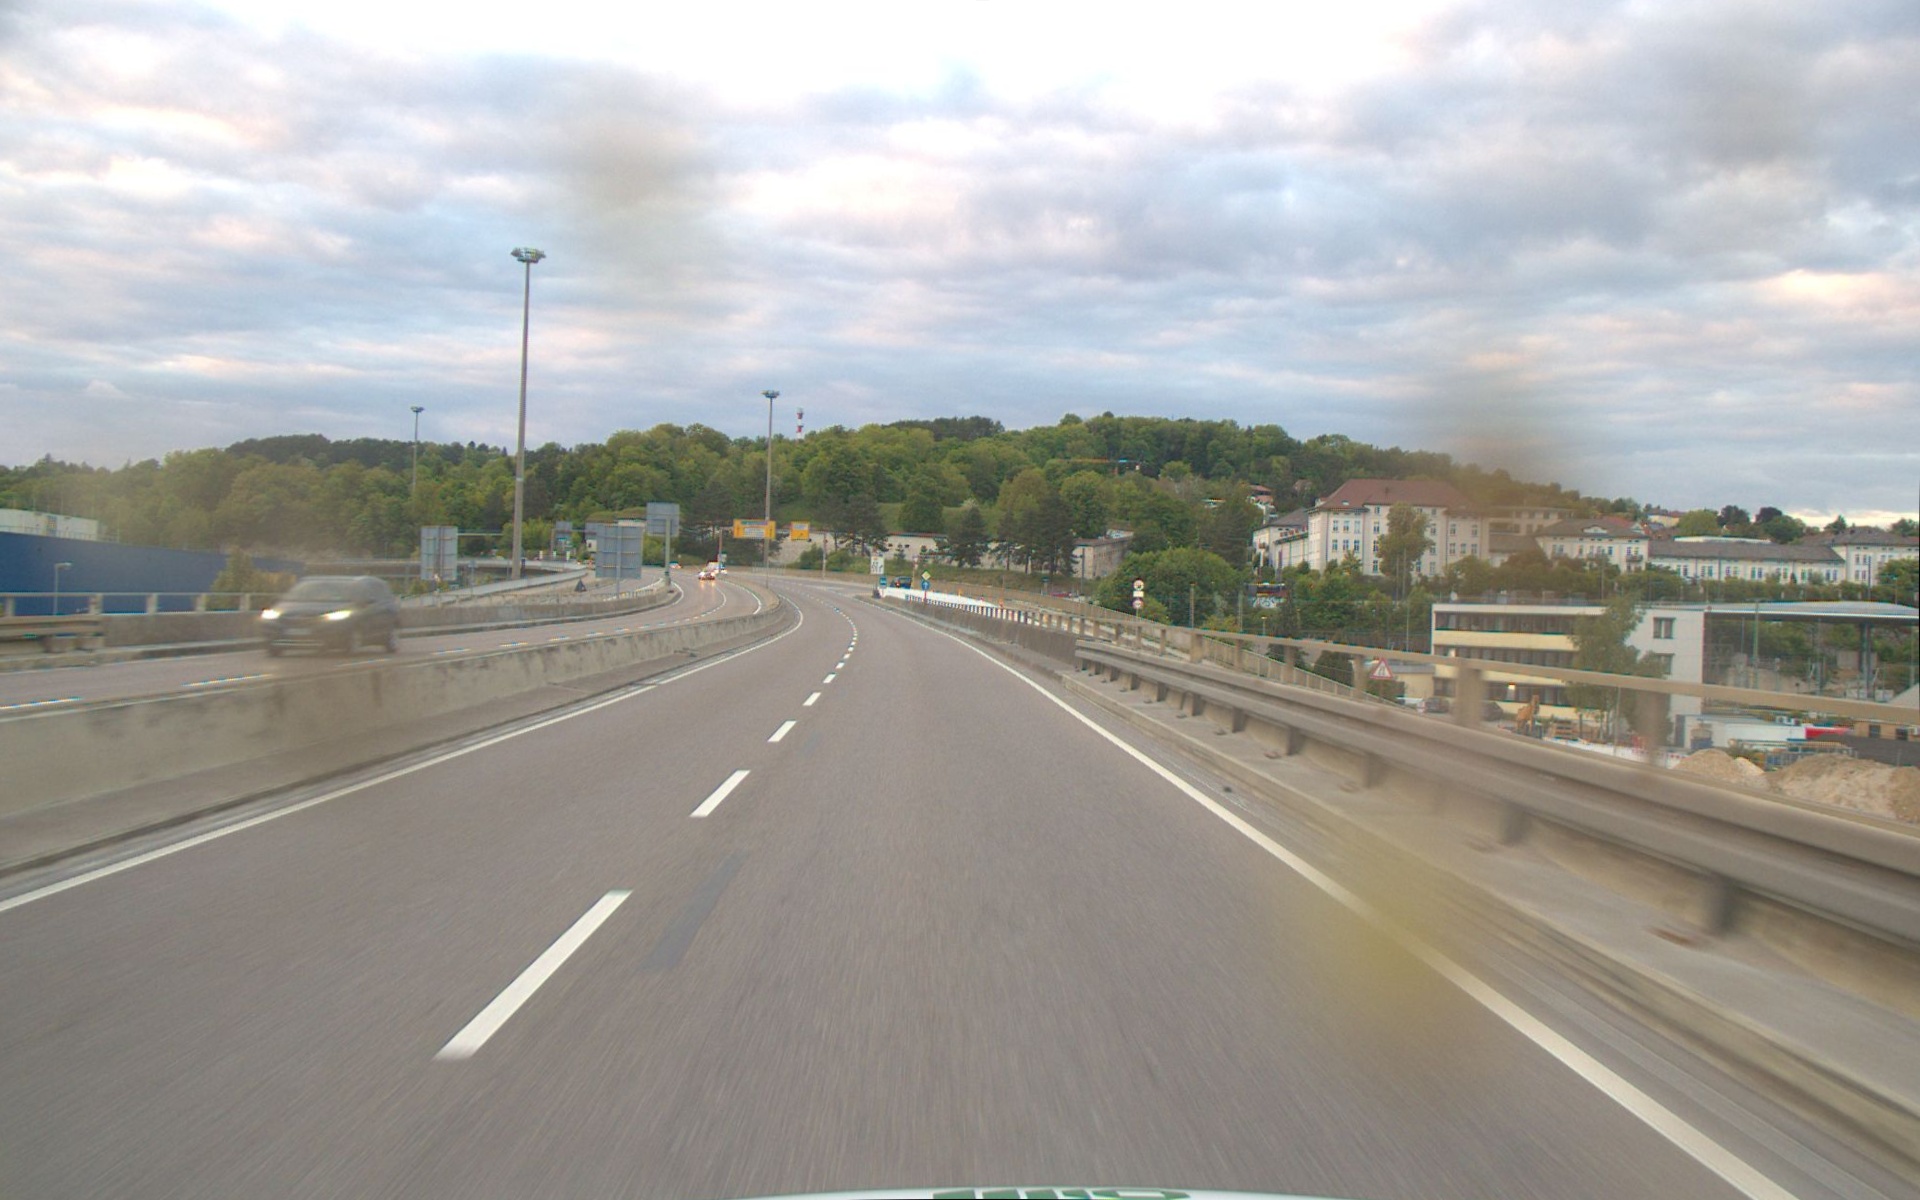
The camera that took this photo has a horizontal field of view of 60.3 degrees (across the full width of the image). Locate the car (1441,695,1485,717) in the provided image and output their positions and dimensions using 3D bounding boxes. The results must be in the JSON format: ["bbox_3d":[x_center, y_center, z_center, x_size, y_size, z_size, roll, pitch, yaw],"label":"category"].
[{"bbox_3d":[46.752,9.852,153.638,3.957,1.592,1.809,5,2,-37],"label":"car"}]

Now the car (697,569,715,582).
[{"bbox_3d":[-32.439,-3.126,211.015,1.799,1.506,4.269,1,0,-16],"label":"car"}]

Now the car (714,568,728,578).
[{"bbox_3d":[-34.745,-3.881,240.391,1.604,1.412,3.983,0,2,-16],"label":"car"}]

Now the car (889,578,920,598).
[{"bbox_3d":[-5.646,-1.210,167.224,2.266,1.794,4.247,3,1,-14],"label":"car"}]

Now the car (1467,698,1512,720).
[{"bbox_3d":[47.870,9.863,149.596,3.957,1.592,1.809,5,2,-37],"label":"car"}]

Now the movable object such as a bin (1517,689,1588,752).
[{"bbox_3d":[48.689,9.864,136.084,2.731,4.382,4.938,7,0,-15],"label":"movable object such as a bin"}]

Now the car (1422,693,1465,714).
[{"bbox_3d":[45.823,9.842,156.788,3.957,1.592,1.809,5,2,-37],"label":"car"}]

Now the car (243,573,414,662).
[{"bbox_3d":[-12.601,0.330,33.324,1.937,1.634,4.438,1,0,-4],"label":"car"}]
